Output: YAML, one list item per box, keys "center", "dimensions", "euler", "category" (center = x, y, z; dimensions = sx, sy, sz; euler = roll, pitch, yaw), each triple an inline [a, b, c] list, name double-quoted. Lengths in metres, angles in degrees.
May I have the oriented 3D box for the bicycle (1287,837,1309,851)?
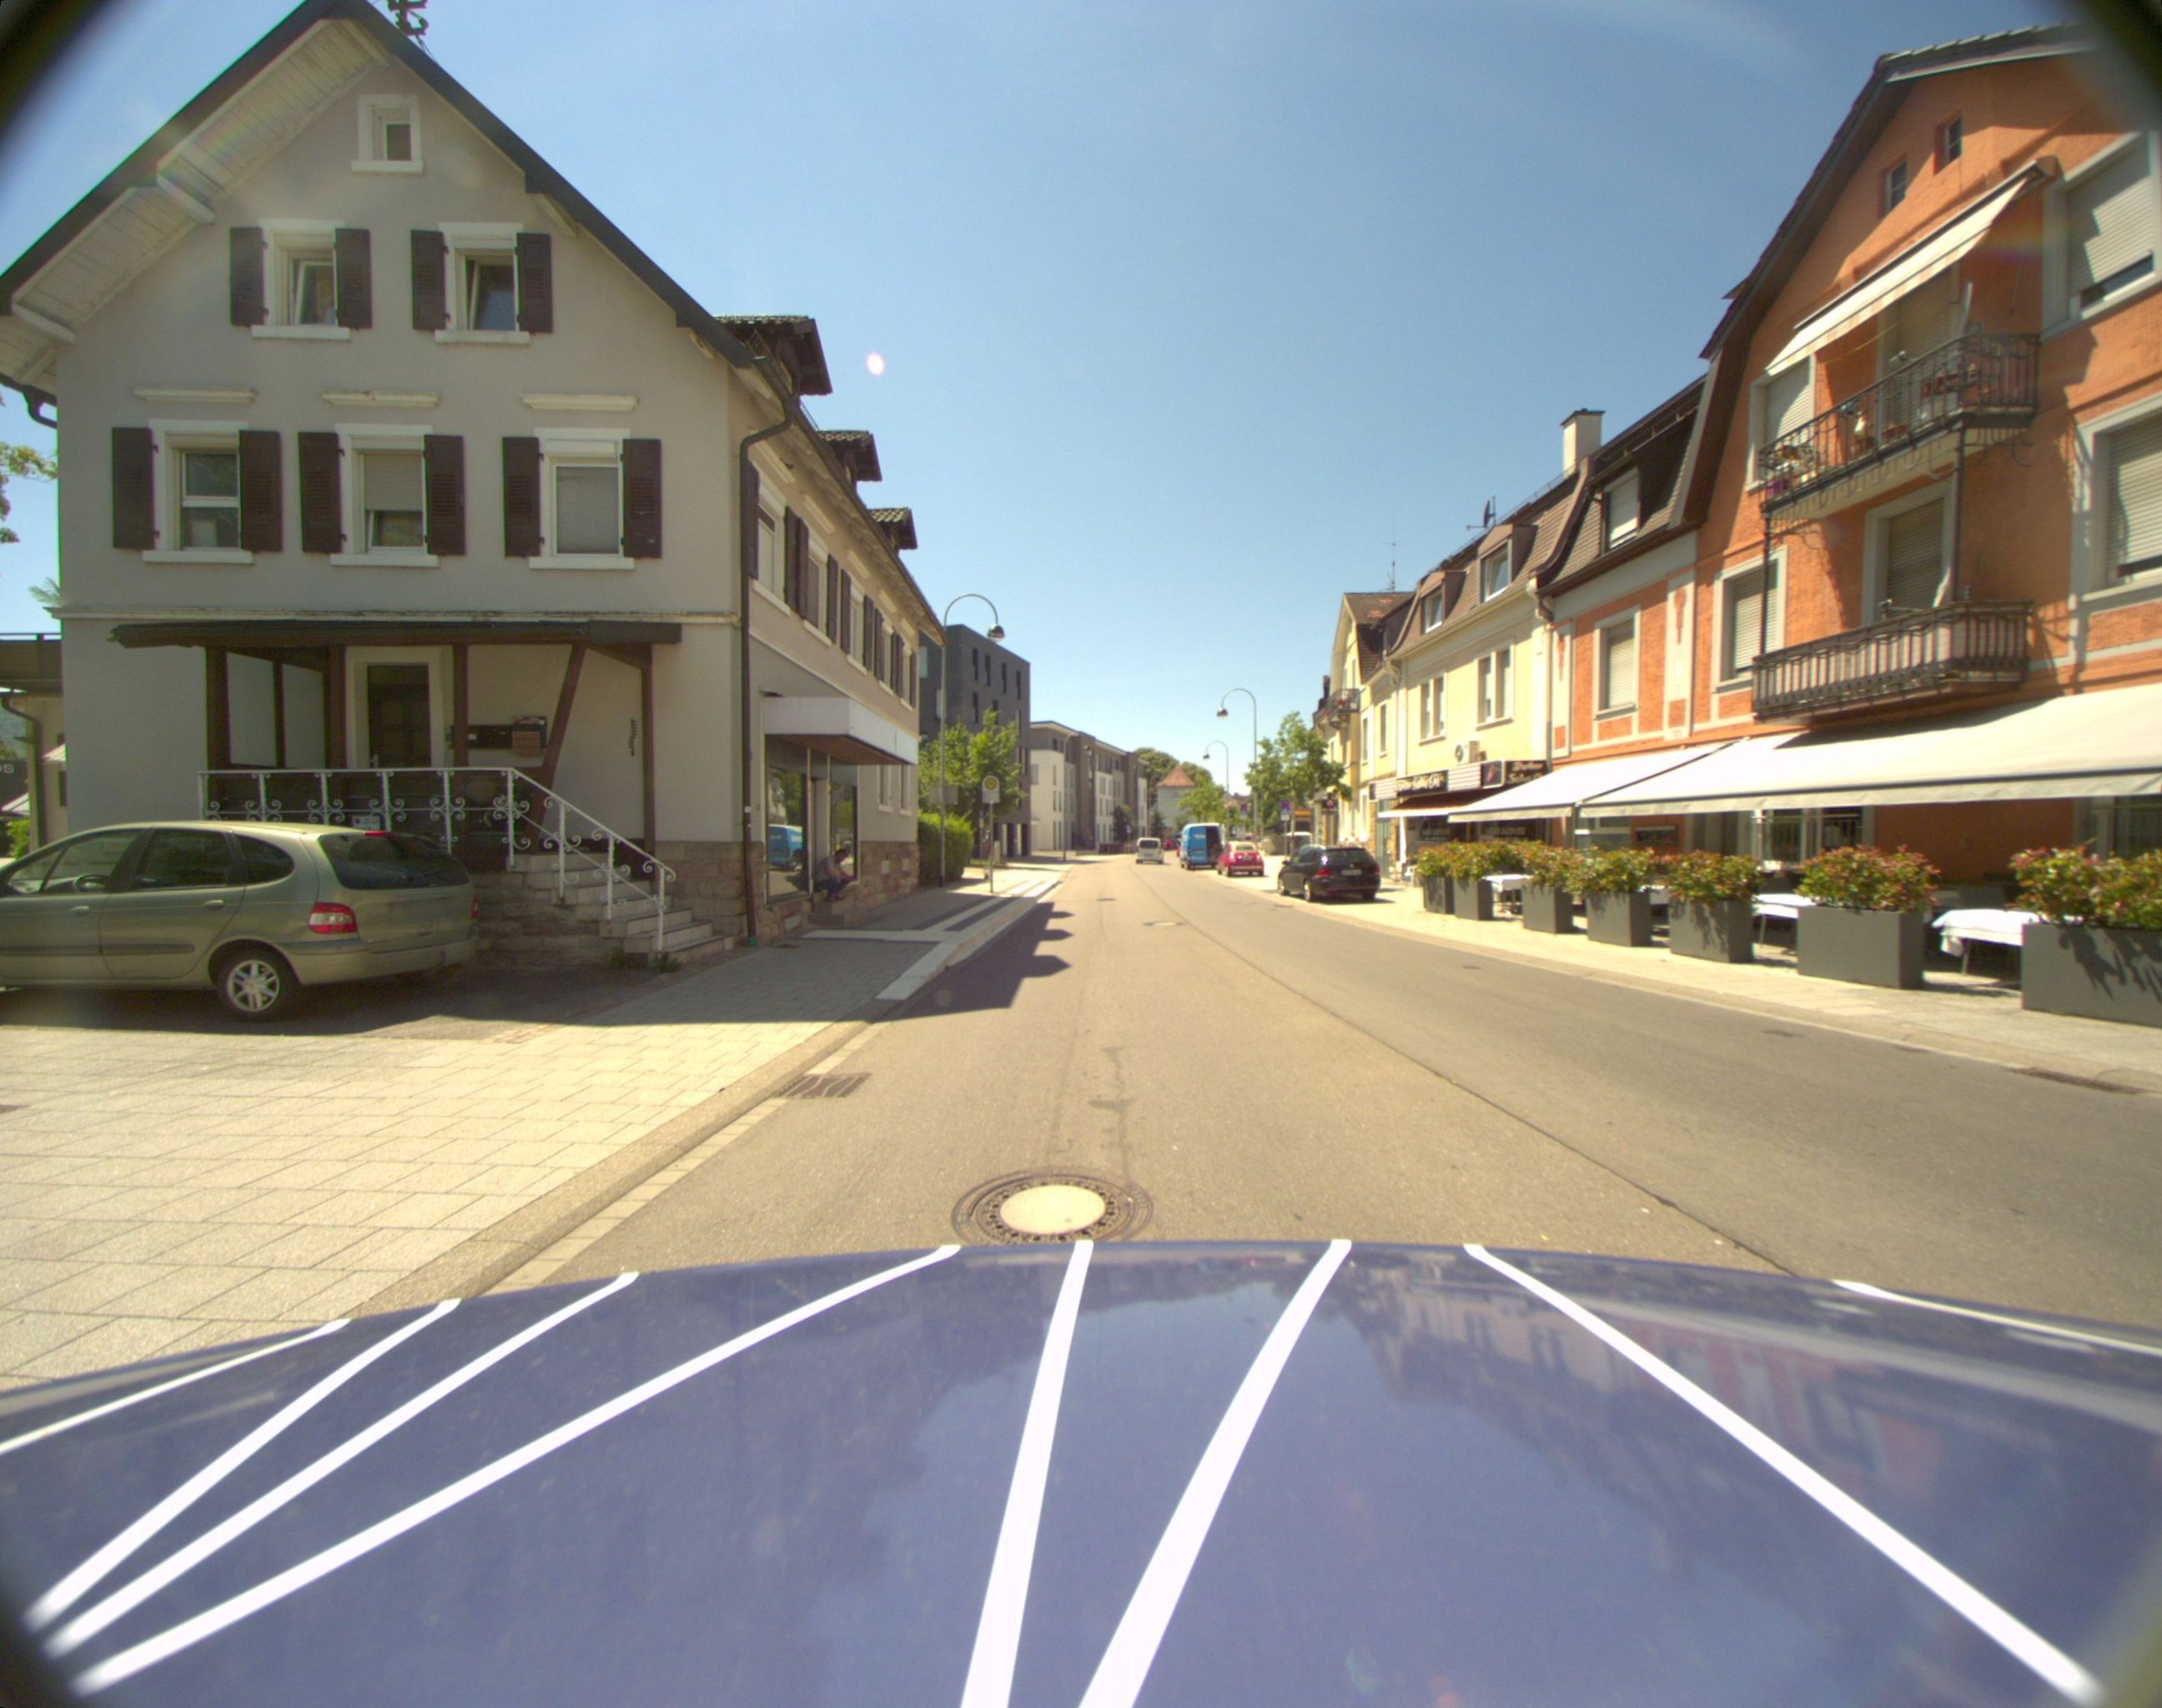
- center: [19.237, -0.897, 67.410]
  dimensions: [1.768, 1.227, 0.616]
  euler: [-2, 1, 10]
  category: "bicycle"

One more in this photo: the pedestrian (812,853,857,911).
- center: [-4.424, 0.484, 13.669]
  dimensions: [0.591, 0.994, 0.723]
  euler: [1, 2, -3]
  category: "pedestrian"

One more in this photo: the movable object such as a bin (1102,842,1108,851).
- center: [2.699, -0.840, 84.399]
  dimensions: [0.473, 0.925, 0.529]
  euler: [2, 3, 18]
  category: "movable object such as a bin"

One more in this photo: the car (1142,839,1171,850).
- center: [10.296, -1.298, 103.776]
  dimensions: [3.611, 1.454, 1.618]
  euler: [2, 2, 17]
  category: "car"

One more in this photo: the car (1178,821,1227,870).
- center: [6.739, -0.503, 42.593]
  dimensions: [2.097, 2.484, 5.503]
  euler: [-2, 1, 3]
  category: "car"

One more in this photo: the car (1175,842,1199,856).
- center: [11.376, -0.572, 81.068]
  dimensions: [1.917, 1.418, 3.985]
  euler: [0, 1, 17]
  category: "car"

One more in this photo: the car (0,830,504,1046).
- center: [-7.908, 0.628, 6.838]
  dimensions: [4.071, 1.586, 1.802]
  euler: [2, 2, 1]
  category: "car"

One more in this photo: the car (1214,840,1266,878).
- center: [7.062, 0.183, 33.949]
  dimensions: [1.563, 1.512, 3.514]
  euler: [-1, 2, 0]
  category: "car"

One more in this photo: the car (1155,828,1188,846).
- center: [14.384, -2.732, 120.426]
  dimensions: [4.860, 2.721, 1.853]
  euler: [1, 2, 18]
  category: "car"

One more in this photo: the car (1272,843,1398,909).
- center: [6.722, 0.506, 20.612]
  dimensions: [1.920, 1.473, 4.336]
  euler: [-3, 1, 0]
  category: "car"

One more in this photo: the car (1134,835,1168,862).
- center: [4.977, -0.405, 53.622]
  dimensions: [1.997, 1.812, 4.418]
  euler: [1, 1, 10]
  category: "car"

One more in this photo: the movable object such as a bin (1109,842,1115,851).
- center: [3.428, -0.831, 84.175]
  dimensions: [0.473, 0.925, 0.529]
  euler: [2, 3, 18]
  category: "movable object such as a bin"

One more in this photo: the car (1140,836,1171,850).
- center: [9.894, -1.449, 100.448]
  dimensions: [3.812, 1.776, 1.842]
  euler: [1, 2, 16]
  category: "car"

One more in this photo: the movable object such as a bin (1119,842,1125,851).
- center: [4.500, -0.798, 83.859]
  dimensions: [0.473, 0.925, 0.529]
  euler: [2, 3, 18]
  category: "movable object such as a bin"

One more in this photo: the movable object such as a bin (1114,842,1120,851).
- center: [3.977, -0.823, 84.017]
  dimensions: [0.473, 0.925, 0.529]
  euler: [2, 3, 18]
  category: "movable object such as a bin"

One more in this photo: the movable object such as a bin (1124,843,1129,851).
- center: [5.023, -0.784, 83.695]
  dimensions: [0.473, 0.925, 0.529]
  euler: [2, 3, 18]
  category: "movable object such as a bin"

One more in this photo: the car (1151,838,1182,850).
- center: [12.400, -1.464, 110.360]
  dimensions: [4.352, 1.542, 1.653]
  euler: [1, 2, 15]
  category: "car"

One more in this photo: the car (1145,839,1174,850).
- center: [11.017, -1.355, 106.250]
  dimensions: [3.812, 1.454, 1.654]
  euler: [2, 1, 17]
  category: "car"
